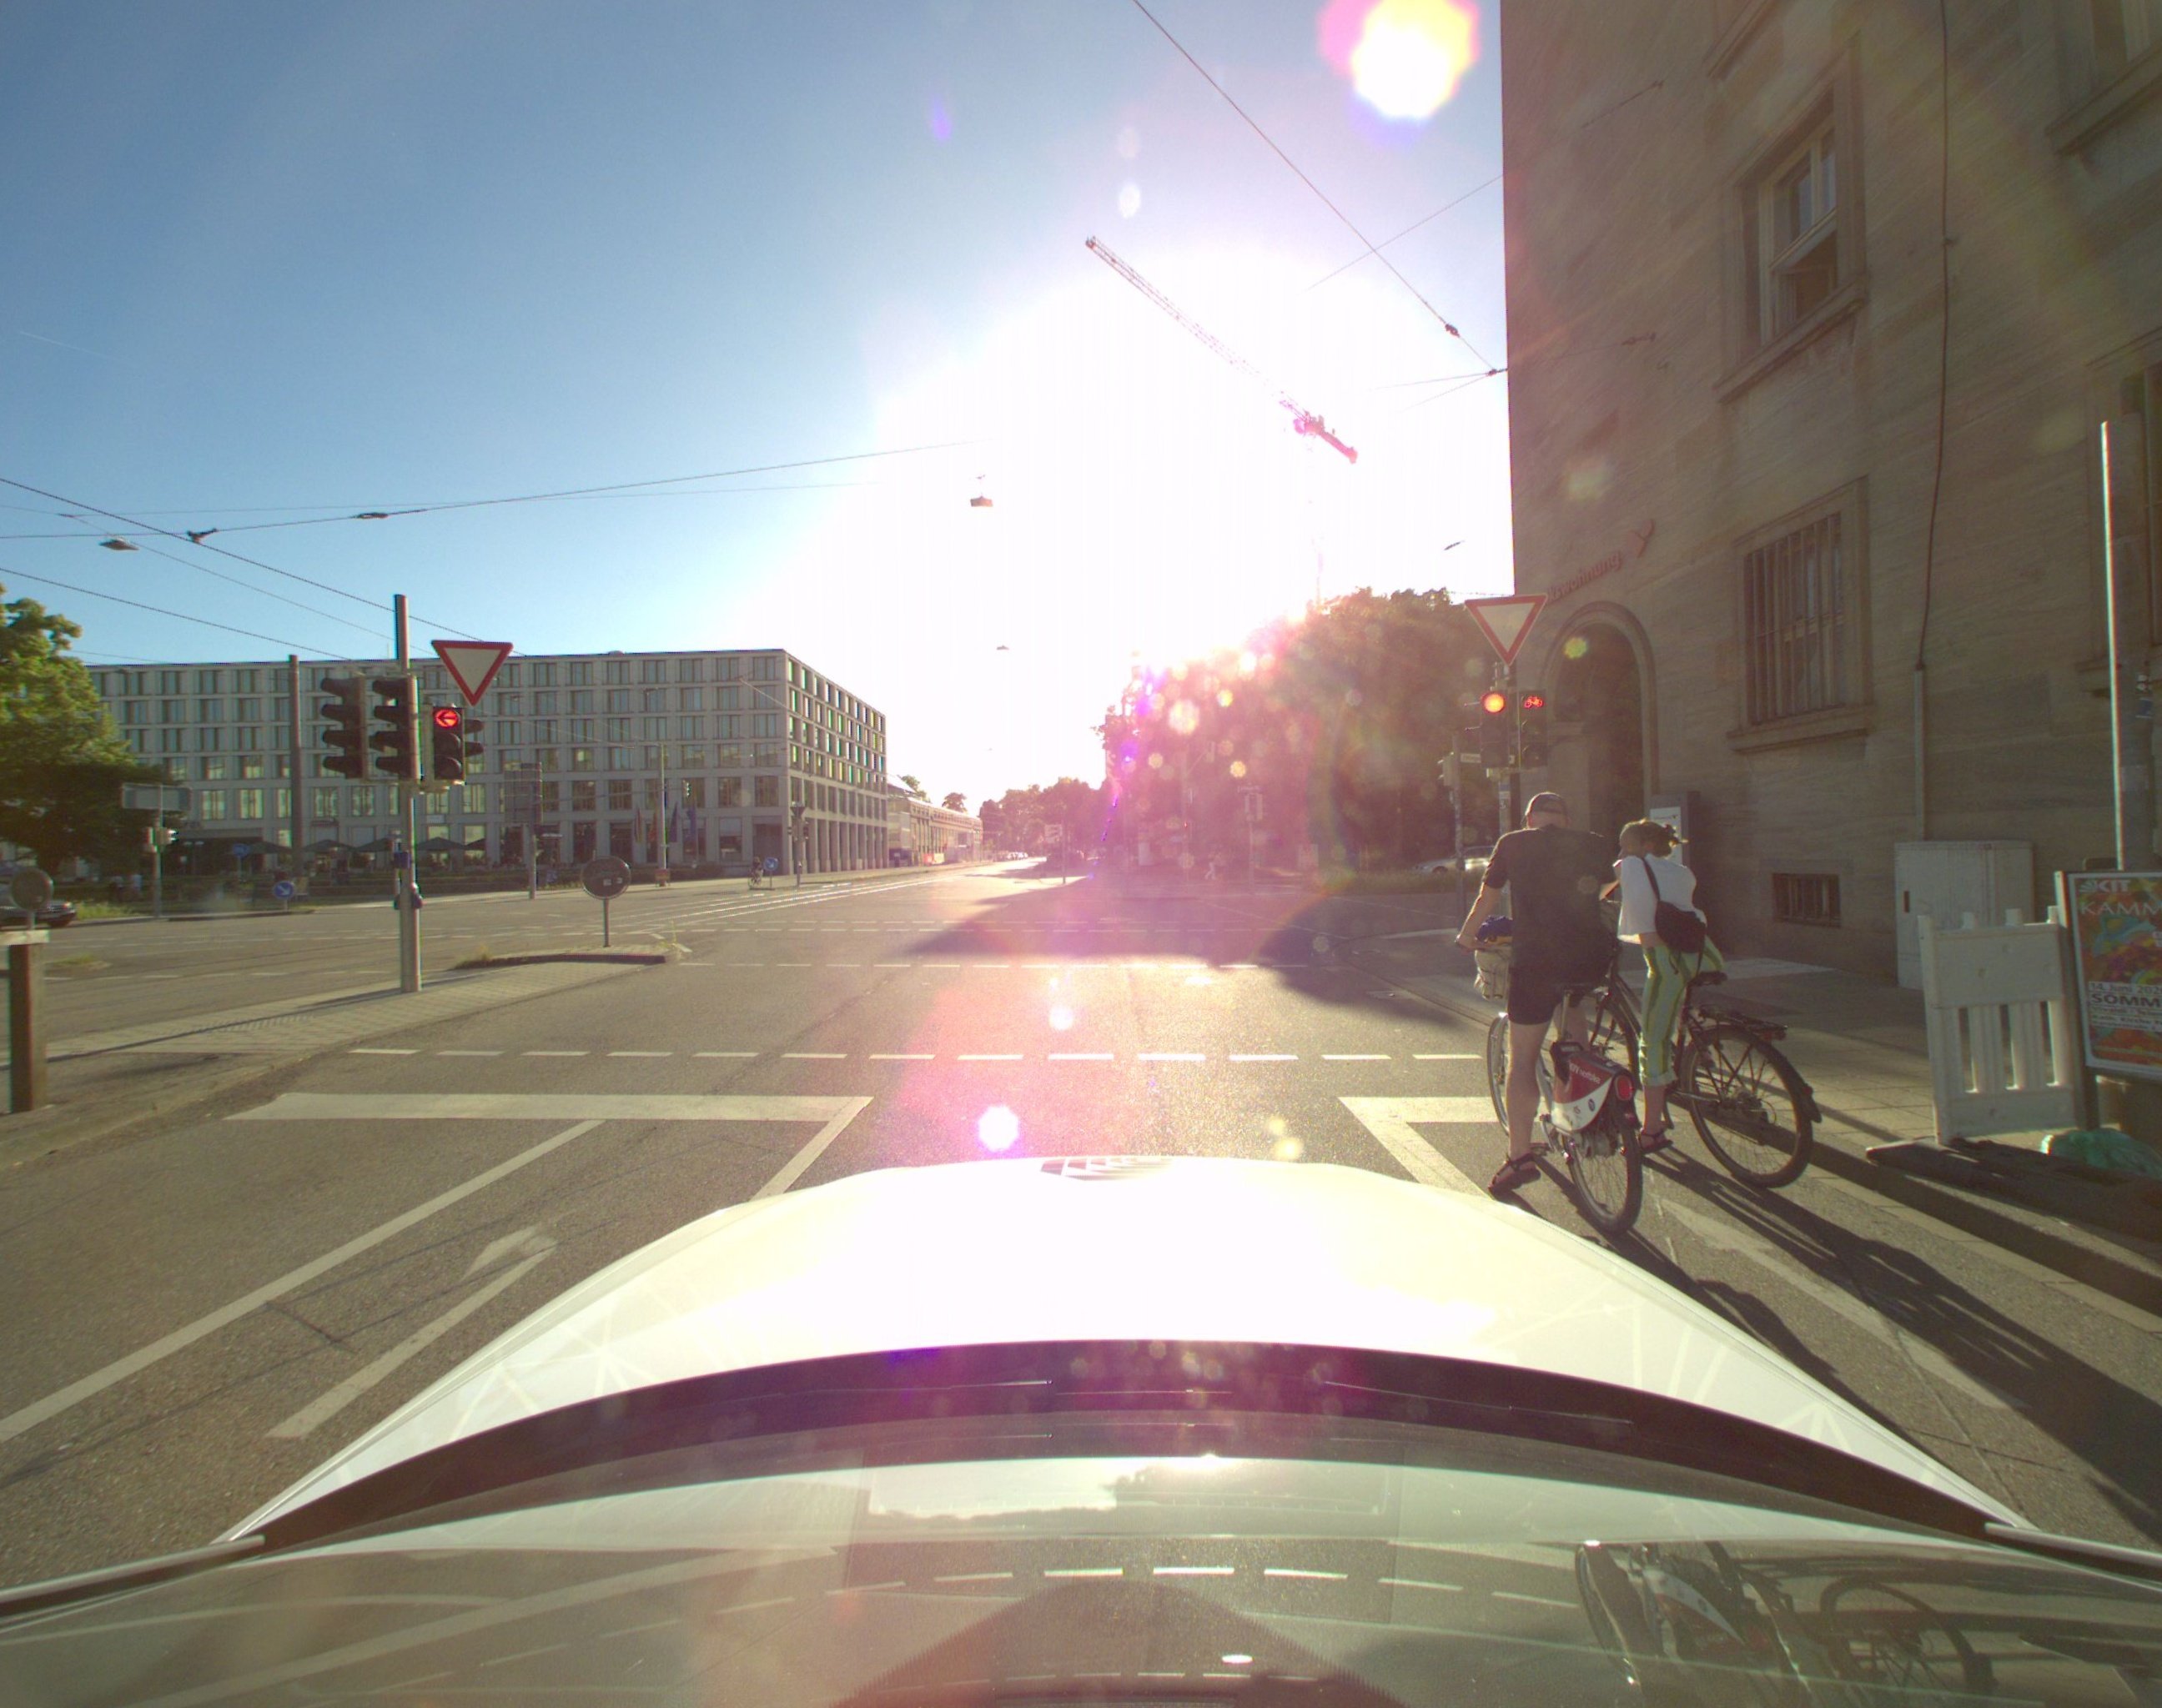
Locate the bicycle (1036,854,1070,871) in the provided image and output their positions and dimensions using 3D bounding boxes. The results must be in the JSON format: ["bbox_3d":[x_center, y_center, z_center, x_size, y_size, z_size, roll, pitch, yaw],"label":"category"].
[{"bbox_3d":[-2.323,0.724,67.371,2.728,1.367,0.633,-1,-1,12],"label":"bicycle"}]

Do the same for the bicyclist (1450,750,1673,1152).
[{"bbox_3d":[2.178,0.412,3.779,0.665,1.678,0.659,-2,0,11],"label":"bicyclist"}]

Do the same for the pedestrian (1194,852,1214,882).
[{"bbox_3d":[6.606,0.685,43.792,0.980,1.587,0.661,-2,-1,3],"label":"pedestrian"}]

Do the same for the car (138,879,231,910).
[{"bbox_3d":[-46.993,2.116,42.734,3.175,1.438,1.471,-2,0,-1],"label":"car"}]

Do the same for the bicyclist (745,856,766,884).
[{"bbox_3d":[-19.256,0.954,48.206,0.872,1.641,0.822,-2,0,3],"label":"bicyclist"}]

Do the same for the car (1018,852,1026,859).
[{"bbox_3d":[-14.049,0.318,194.943,1.478,1.750,4.002,-2,0,2],"label":"car"}]

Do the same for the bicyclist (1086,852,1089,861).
[{"bbox_3d":[0.811,0.307,98.608,0.316,1.127,0.292,-1,-1,11],"label":"bicyclist"}]

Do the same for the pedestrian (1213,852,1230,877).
[{"bbox_3d":[7.483,0.555,43.351,0.749,1.332,0.743,-2,0,3],"label":"pedestrian"}]

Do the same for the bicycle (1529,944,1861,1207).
[{"bbox_3d":[3.095,1.034,4.374,0.424,0.876,1.953,-2,0,5],"label":"bicycle"}]

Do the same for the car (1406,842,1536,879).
[{"bbox_3d":[15.776,0.254,33.111,4.422,1.329,1.778,-2,0,4],"label":"car"}]

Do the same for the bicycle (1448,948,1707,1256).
[{"bbox_3d":[2.276,1.030,3.994,0.387,0.905,1.956,-2,0,10],"label":"bicycle"}]

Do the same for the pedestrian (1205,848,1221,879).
[{"bbox_3d":[7.193,0.522,44.450,0.792,1.639,0.534,-2,0,4],"label":"pedestrian"}]

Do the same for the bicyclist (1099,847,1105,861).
[{"bbox_3d":[2.651,-0.003,103.187,0.802,1.844,0.731,-2,0,1],"label":"bicyclist"}]

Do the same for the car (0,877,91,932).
[{"bbox_3d":[-33.913,1.584,25.284,4.147,1.574,1.728,-2,0,0],"label":"car"}]

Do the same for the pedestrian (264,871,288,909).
[{"bbox_3d":[-44.233,1.980,44.757,0.648,2.068,0.649,-2,-1,-5],"label":"pedestrian"}]

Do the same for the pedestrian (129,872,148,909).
[{"bbox_3d":[-51.956,1.999,44.887,0.490,2.013,0.493,-2,0,14],"label":"pedestrian"}]

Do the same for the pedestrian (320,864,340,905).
[{"bbox_3d":[-42.519,1.743,46.112,0.568,2.280,0.533,-2,0,-5],"label":"pedestrian"}]

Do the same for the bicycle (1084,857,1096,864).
[{"bbox_3d":[1.113,0.778,98.886,1.490,0.868,0.321,-2,0,-37],"label":"bicycle"}]

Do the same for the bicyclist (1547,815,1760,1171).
[{"bbox_3d":[2.961,0.663,4.296,0.519,1.679,0.860,-2,0,5],"label":"bicyclist"}]

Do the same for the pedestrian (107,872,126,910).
[{"bbox_3d":[-52.134,1.994,44.018,0.490,2.013,0.493,-2,0,14],"label":"pedestrian"}]

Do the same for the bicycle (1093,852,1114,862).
[{"bbox_3d":[2.810,0.396,103.052,2.564,1.288,0.727,0,-1,-4],"label":"bicycle"}]

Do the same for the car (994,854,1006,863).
[{"bbox_3d":[-15.619,0.861,156.703,1.724,1.653,4.002,-2,0,2],"label":"car"}]

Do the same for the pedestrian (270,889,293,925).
[{"bbox_3d":[-45.419,2.998,46.266,0.528,2.013,0.800,-2,0,-5],"label":"pedestrian"}]

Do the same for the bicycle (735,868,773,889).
[{"bbox_3d":[-19.249,1.402,48.060,0.872,1.121,3.015,-2,0,3],"label":"bicycle"}]

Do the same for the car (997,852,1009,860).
[{"bbox_3d":[-15.428,0.408,160.739,1.724,1.653,4.002,-2,0,2],"label":"car"}]

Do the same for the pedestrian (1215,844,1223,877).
[{"bbox_3d":[7.512,0.342,44.369,0.358,1.804,0.508,-2,0,14],"label":"pedestrian"}]

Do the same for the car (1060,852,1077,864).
[{"bbox_3d":[-1.395,0.434,92.565,1.814,1.279,3.999,-2,0,0],"label":"car"}]
